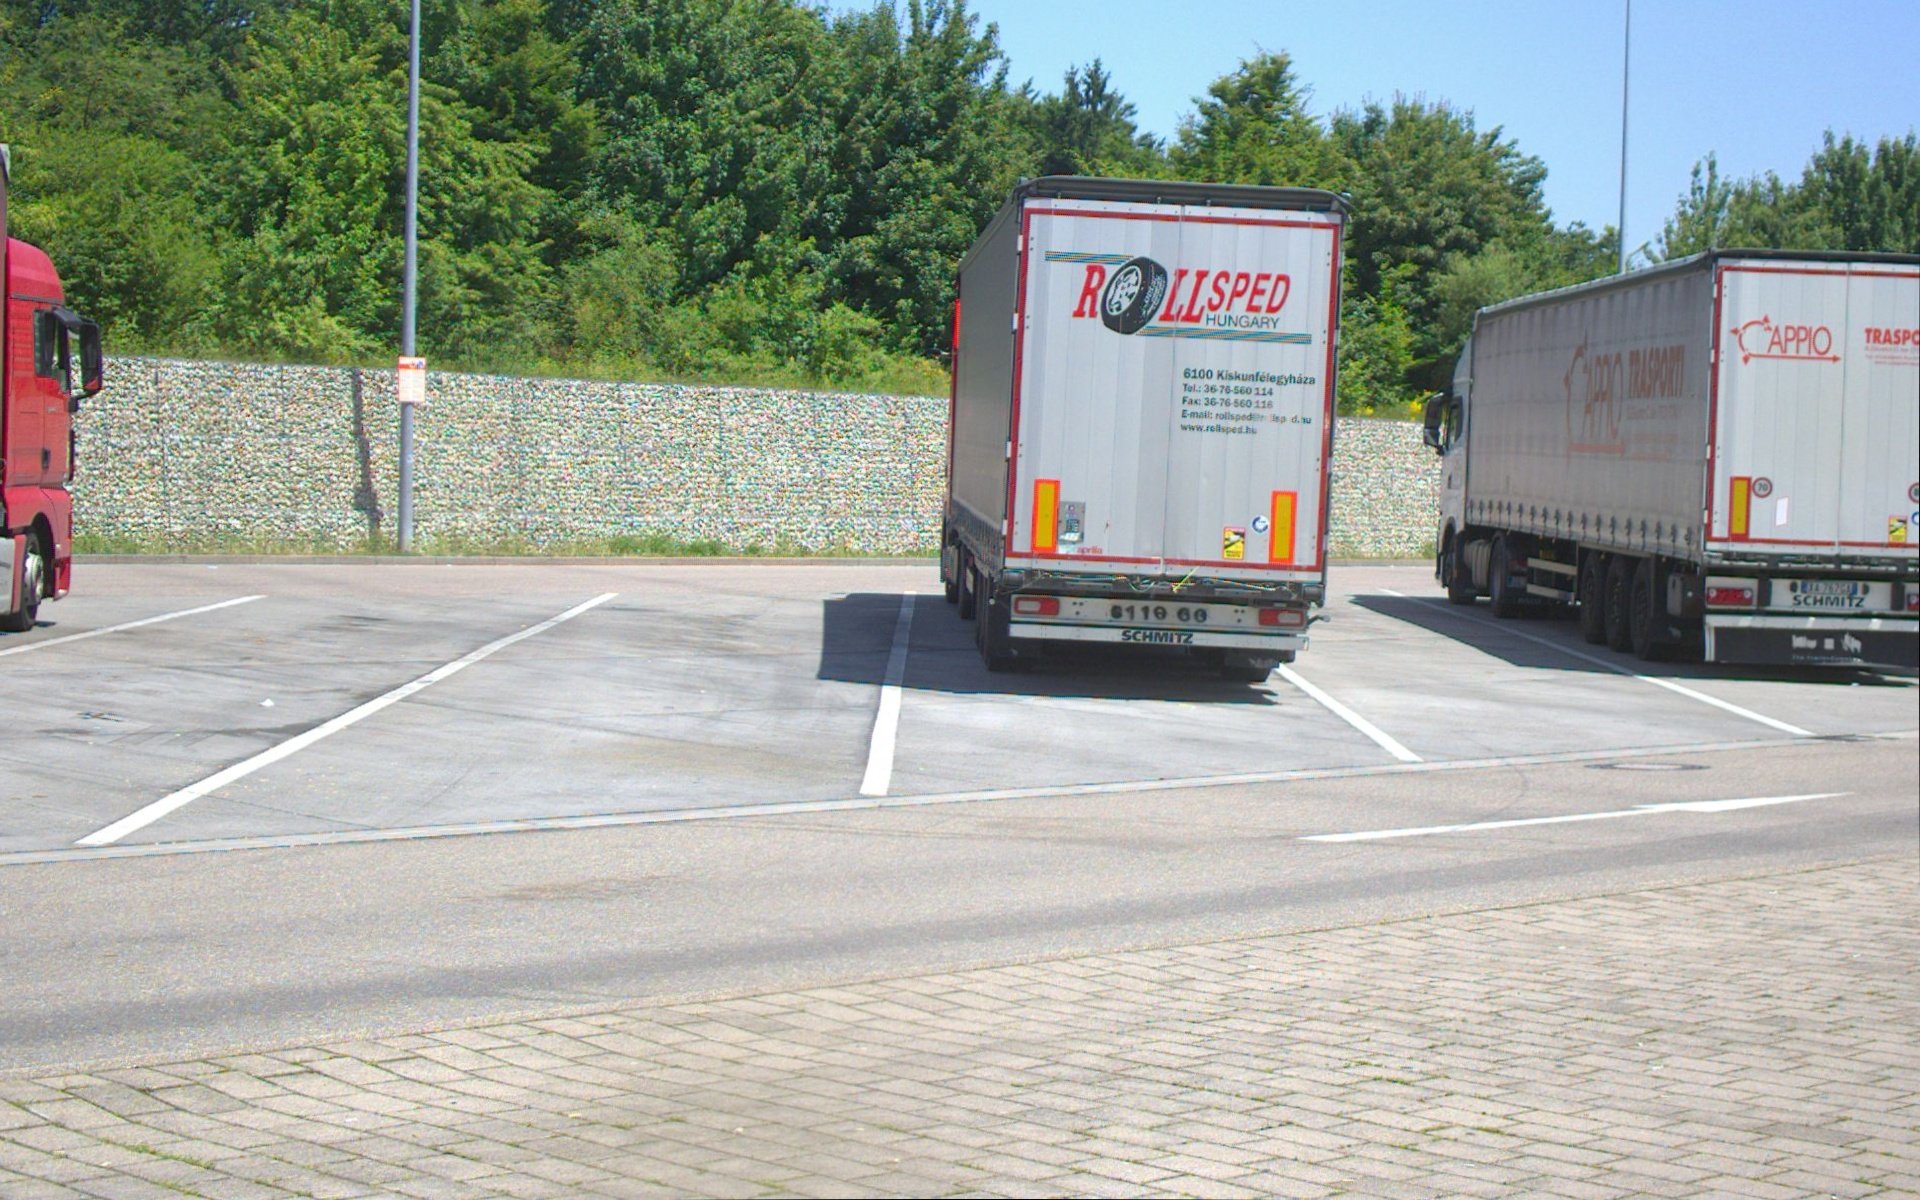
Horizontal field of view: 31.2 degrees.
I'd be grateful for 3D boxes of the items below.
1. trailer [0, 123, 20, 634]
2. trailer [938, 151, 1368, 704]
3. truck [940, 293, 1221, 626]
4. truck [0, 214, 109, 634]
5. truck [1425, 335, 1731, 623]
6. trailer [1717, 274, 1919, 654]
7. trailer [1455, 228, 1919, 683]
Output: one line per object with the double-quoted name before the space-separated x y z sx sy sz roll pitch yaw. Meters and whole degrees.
"trailer" -9.151 -1.493 21.304 2.906 4.118 13.725 2 3 -1
"trailer" 1.433 -1.624 33.201 2.906 4.118 13.725 2 3 -1
"truck" 1.283 -1.631 39.815 2.852 3.472 5.483 2 2 -1
"truck" -9.242 -1.509 28.742 2.852 3.416 5.483 2 2 -1
"truck" 8.055 -1.626 45.506 2.852 3.472 5.483 2 2 -1
"trailer" 11.786 -1.530 39.446 2.838 4.118 13.724 2 3 -1
"trailer" 8.149 -1.628 38.693 2.838 4.118 13.724 2 3 -1
